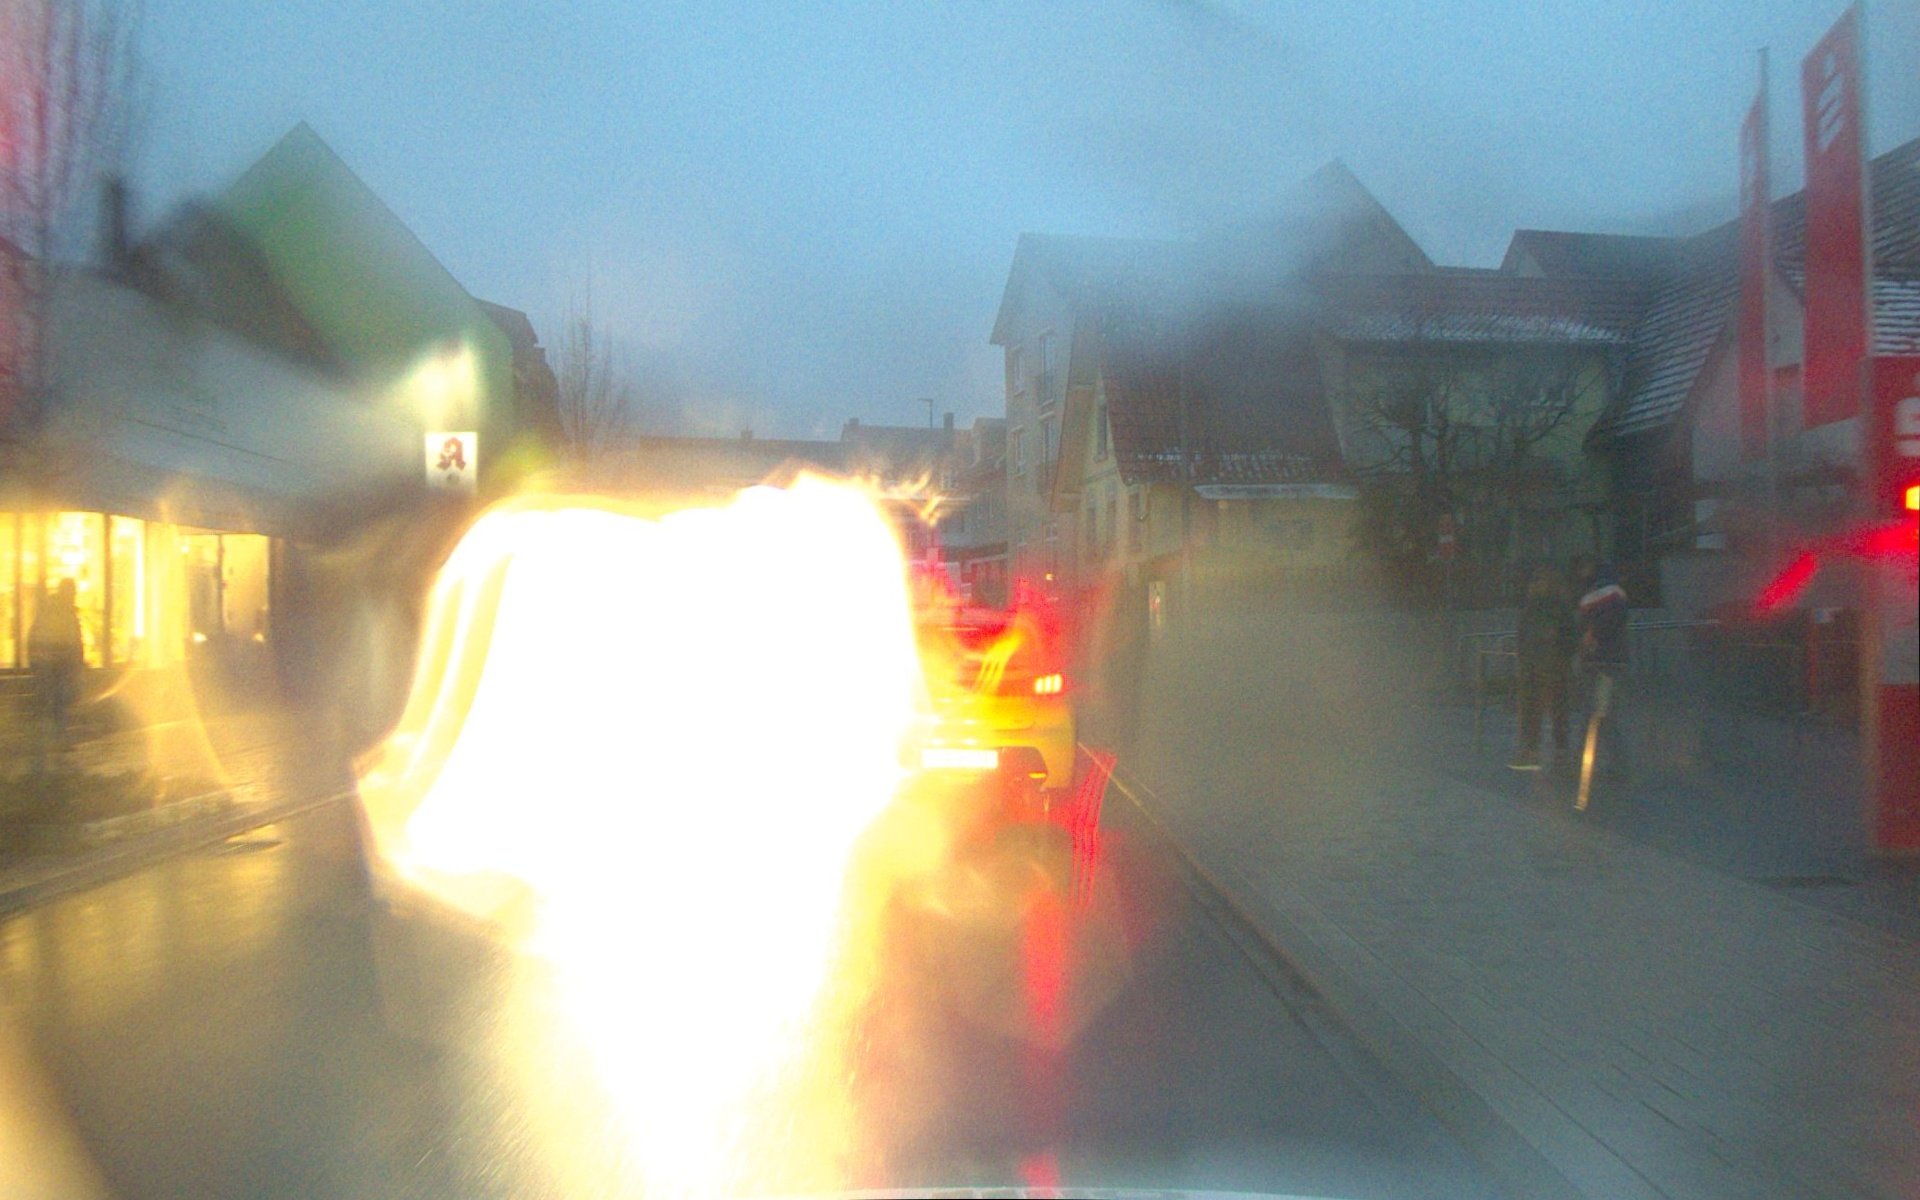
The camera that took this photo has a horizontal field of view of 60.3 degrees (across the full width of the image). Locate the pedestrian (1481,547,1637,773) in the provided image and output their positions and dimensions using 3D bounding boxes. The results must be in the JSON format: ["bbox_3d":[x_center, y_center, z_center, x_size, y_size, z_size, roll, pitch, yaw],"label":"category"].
[{"bbox_3d":[4.812,0.460,13.292,0.831,1.735,0.833,-1,0,-40],"label":"pedestrian"}]

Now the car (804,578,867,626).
[{"bbox_3d":[-4.446,0.078,58.416,1.956,1.616,3.993,1,0,-8],"label":"car"}]

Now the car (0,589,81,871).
[{"bbox_3d":[-6.184,0.708,7.457,1.953,1.549,4.975,0,0,-3],"label":"car"}]

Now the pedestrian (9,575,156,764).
[{"bbox_3d":[-9.159,0.698,17.285,0.989,1.909,0.942,0,0,23],"label":"pedestrian"}]

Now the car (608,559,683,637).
[{"bbox_3d":[-11.272,-0.032,59.679,2.440,2.605,6.745,1,-1,-10],"label":"car"}]

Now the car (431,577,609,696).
[{"bbox_3d":[-7.004,0.546,26.800,1.843,1.740,4.709,1,0,-3],"label":"car"}]

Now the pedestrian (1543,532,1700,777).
[{"bbox_3d":[4.926,0.390,12.358,0.690,1.735,0.913,-2,0,-7],"label":"pedestrian"}]

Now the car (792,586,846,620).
[{"bbox_3d":[-7.912,0.143,92.292,1.964,1.795,4.326,-2,1,-19],"label":"car"}]

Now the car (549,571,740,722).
[{"bbox_3d":[-4.154,0.522,22.550,1.954,1.735,4.963,2,1,-5],"label":"car"}]

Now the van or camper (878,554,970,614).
[{"bbox_3d":[-2.128,-0.883,93.760,2.618,3.100,6.680,-4,1,-25],"label":"van or camper"}]

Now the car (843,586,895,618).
[{"bbox_3d":[-5.131,0.105,92.810,1.962,1.639,4.154,-2,-1,-17],"label":"car"}]

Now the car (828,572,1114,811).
[{"bbox_3d":[-0.077,0.614,12.891,1.779,1.560,3.995,1,0,-6],"label":"car"}]

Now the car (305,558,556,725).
[{"bbox_3d":[-6.410,0.438,20.642,2.046,1.823,5.016,0,0,-7],"label":"car"}]

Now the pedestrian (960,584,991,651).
[{"bbox_3d":[0.413,0.459,44.467,0.731,1.759,0.872,0,1,-6],"label":"pedestrian"}]

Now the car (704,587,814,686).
[{"bbox_3d":[-3.860,0.648,32.441,1.913,1.573,4.413,-1,3,-4],"label":"car"}]
